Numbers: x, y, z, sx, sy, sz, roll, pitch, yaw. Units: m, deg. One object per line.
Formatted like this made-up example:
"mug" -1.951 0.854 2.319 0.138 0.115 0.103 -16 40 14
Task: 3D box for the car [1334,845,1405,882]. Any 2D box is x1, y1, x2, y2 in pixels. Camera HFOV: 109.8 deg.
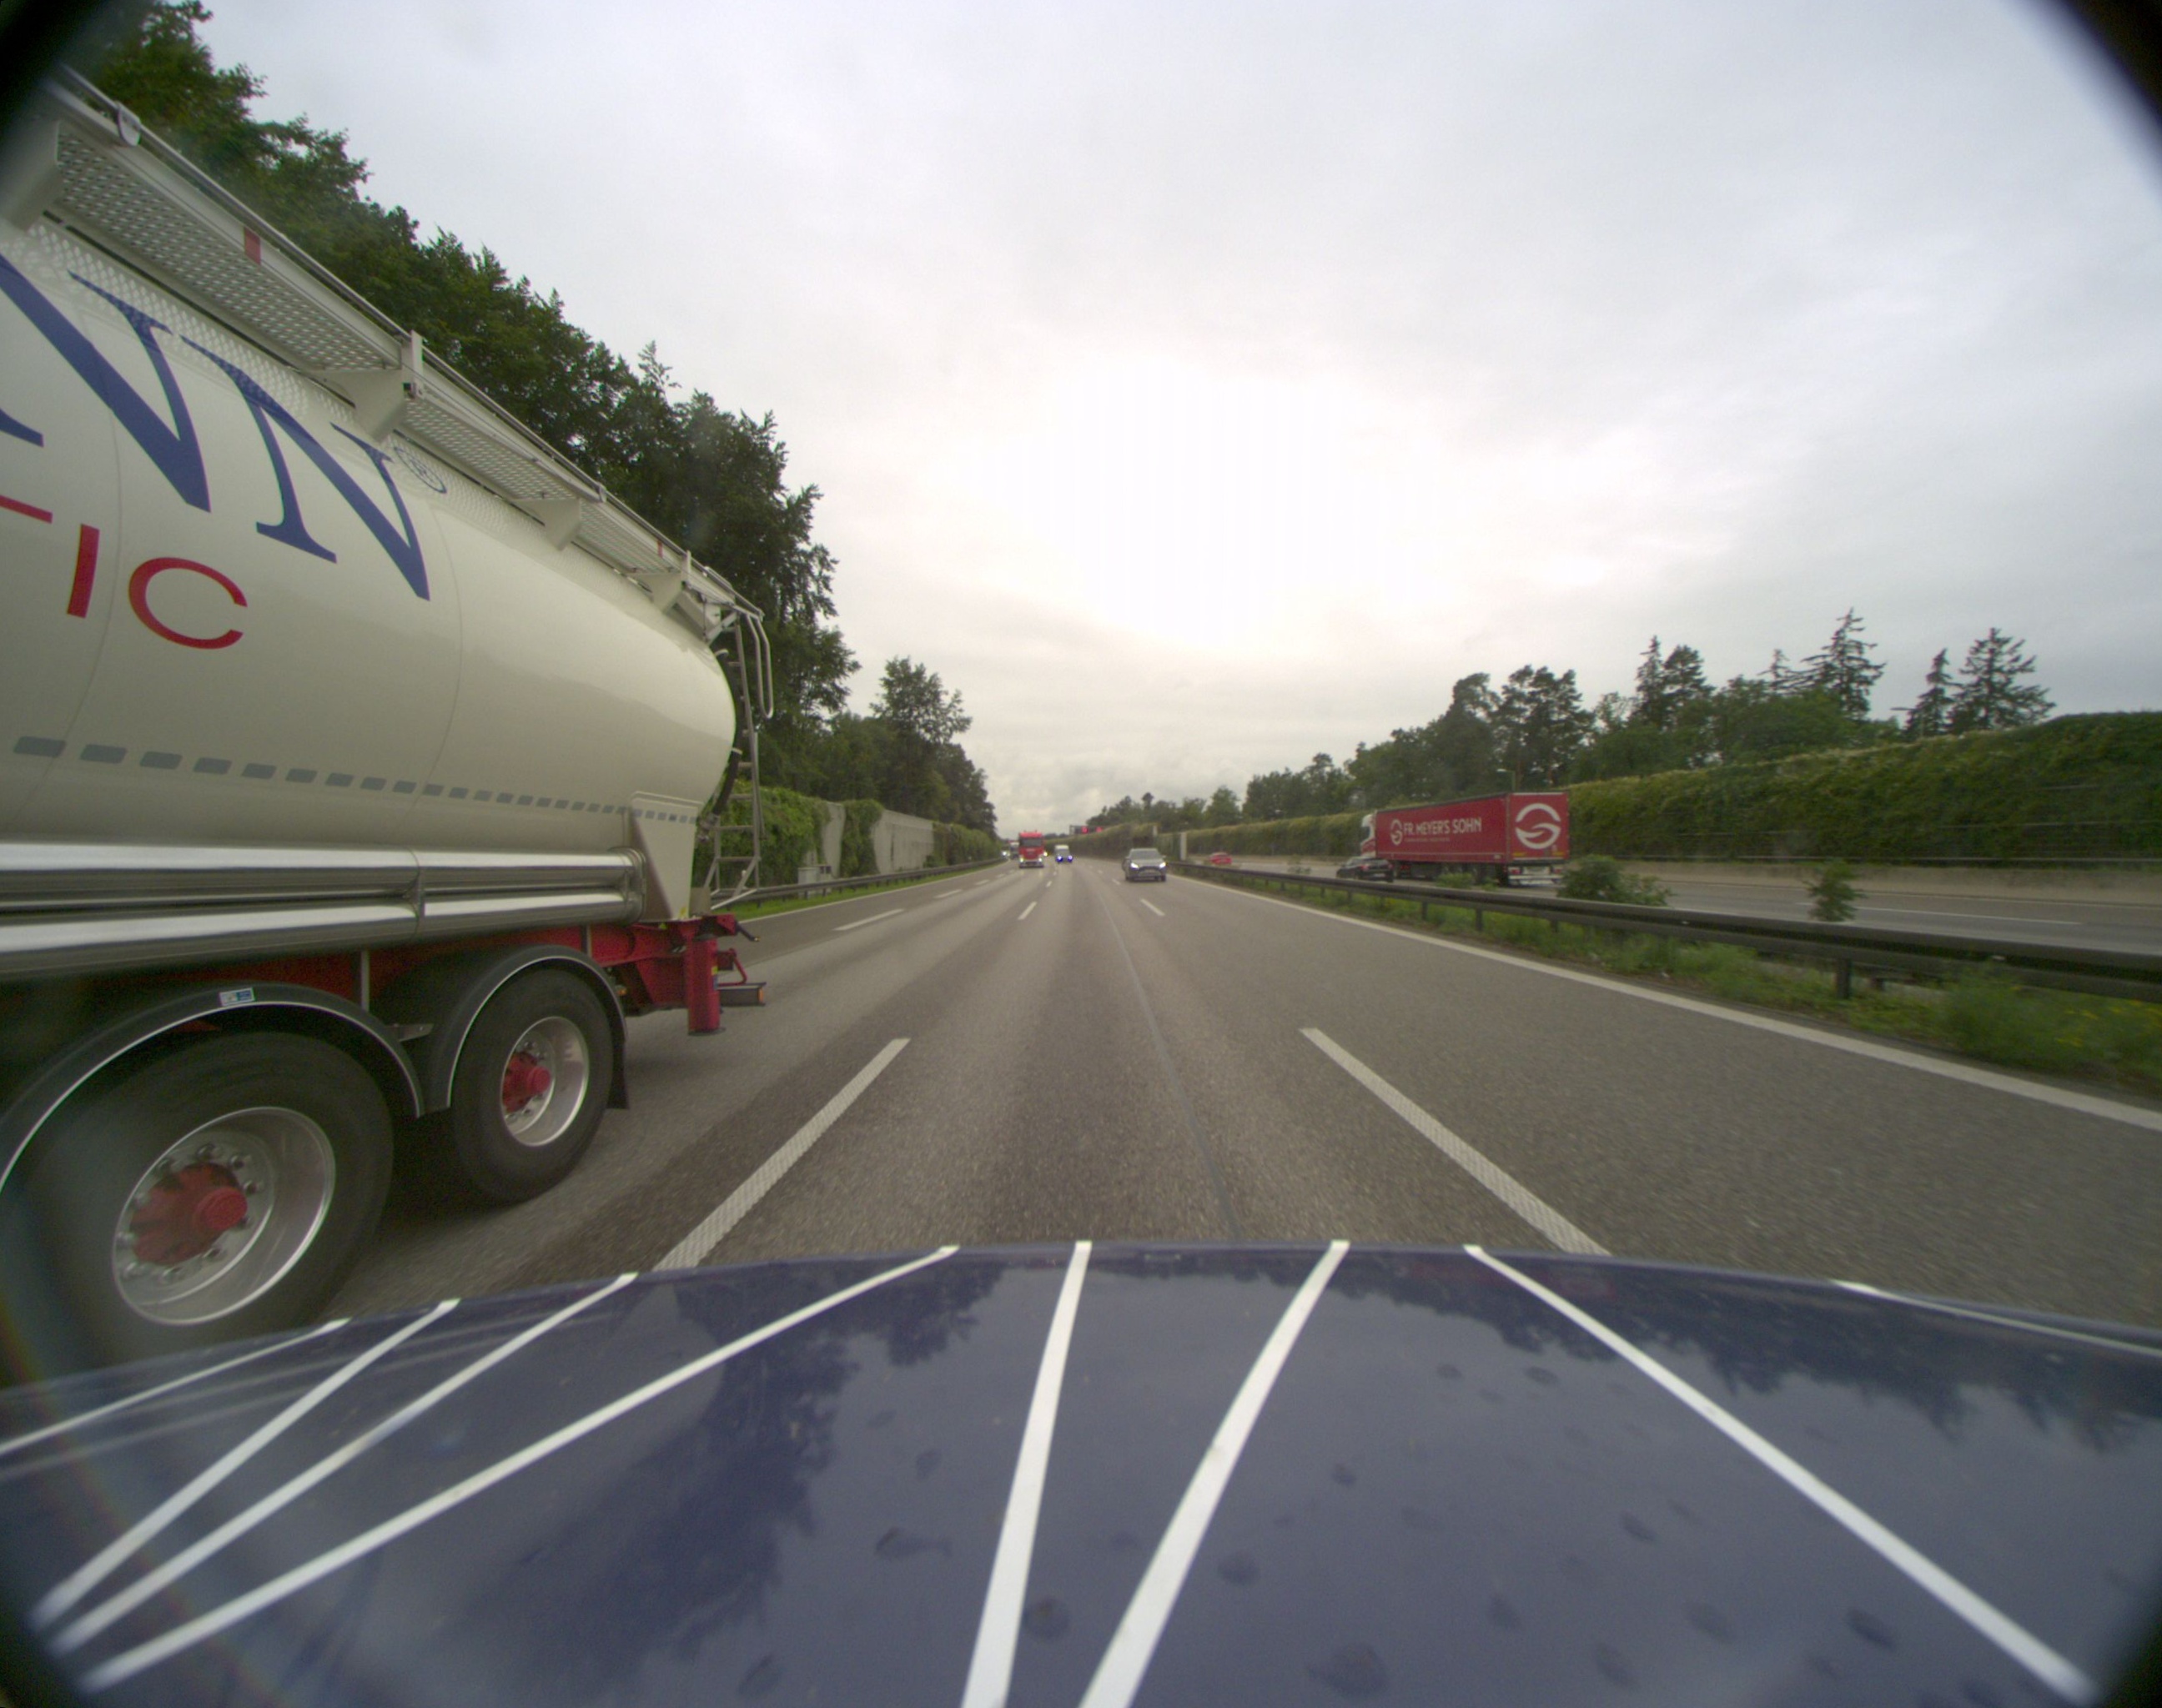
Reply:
"car" 14.392 0.444 38.153 1.999 1.729 3.999 -2 1 -1

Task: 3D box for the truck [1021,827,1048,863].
"truck" -5.085 -1.082 83.402 2.709 3.691 9.834 -1 2 -4

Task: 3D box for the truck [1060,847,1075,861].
"truck" -1.759 0.000 99.370 1.825 1.535 3.997 -2 3 -2

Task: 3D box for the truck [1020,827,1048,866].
"truck" -4.781 -0.825 78.428 2.709 3.810 4.196 -1 2 -3

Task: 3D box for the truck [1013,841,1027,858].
"truck" -14.011 -1.166 174.862 2.710 3.691 8.234 -1 2 -7

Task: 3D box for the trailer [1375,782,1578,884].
"trailer" 18.846 -0.929 37.910 2.752 4.104 13.685 -1 1 -1

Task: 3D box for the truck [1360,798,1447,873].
"truck" 18.759 -1.046 44.619 2.674 4.104 5.916 -1 1 1

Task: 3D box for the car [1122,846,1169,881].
"car" 3.257 0.430 39.199 2.022 1.594 5.439 -1 0 1

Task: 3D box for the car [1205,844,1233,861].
"car" 13.846 -0.153 76.355 1.776 1.560 4.715 1 1 -1

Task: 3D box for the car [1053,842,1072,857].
"car" -3.064 -0.724 122.221 2.770 2.227 6.543 -1 1 -3
